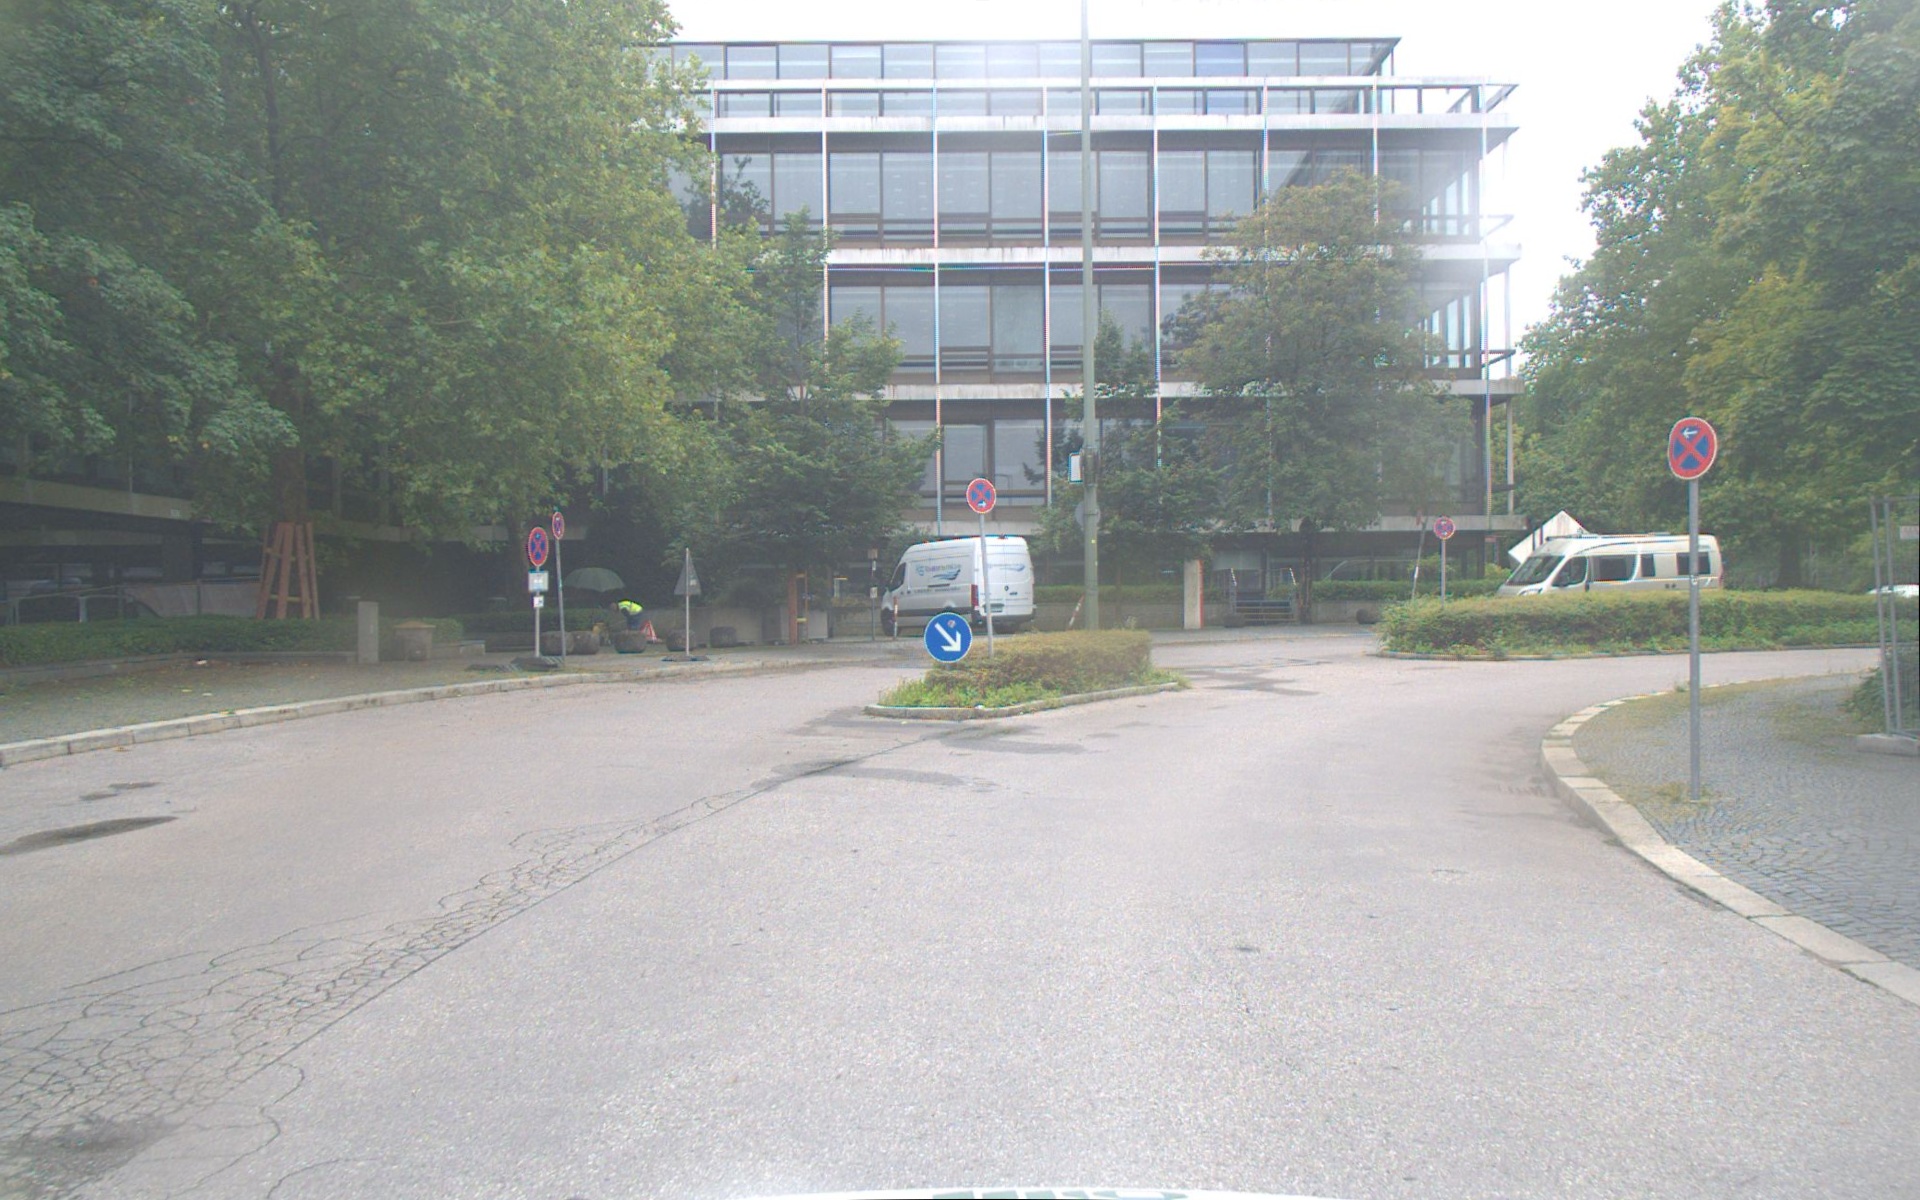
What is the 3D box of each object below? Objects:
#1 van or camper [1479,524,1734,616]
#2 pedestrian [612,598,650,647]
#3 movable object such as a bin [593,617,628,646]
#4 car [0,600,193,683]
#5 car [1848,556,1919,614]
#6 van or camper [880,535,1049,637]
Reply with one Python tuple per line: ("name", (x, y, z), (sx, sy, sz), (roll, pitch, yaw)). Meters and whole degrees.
("van or camper", (17.333, -0.817, 44.368), (6.292, 2.321, 2.246), (-1, 0, -15))
("pedestrian", (-8.855, 0.593, 44.551), (0.907, 1.300, 0.542), (0, 0, 1))
("movable object such as a bin", (-9.407, 0.853, 44.501), (0.817, 0.766, 0.572), (0, 0, 1))
("car", (-17.251, 0.787, 33.202), (1.867, 1.499, 3.861), (-1, 0, 0))
("car", (26.992, -0.447, 45.617), (3.905, 1.534, 2.000), (-1, 0, 0))
("van or camper", (-0.001, -0.309, 46.918), (2.130, 2.626, 6.482), (0, -1, -26))
